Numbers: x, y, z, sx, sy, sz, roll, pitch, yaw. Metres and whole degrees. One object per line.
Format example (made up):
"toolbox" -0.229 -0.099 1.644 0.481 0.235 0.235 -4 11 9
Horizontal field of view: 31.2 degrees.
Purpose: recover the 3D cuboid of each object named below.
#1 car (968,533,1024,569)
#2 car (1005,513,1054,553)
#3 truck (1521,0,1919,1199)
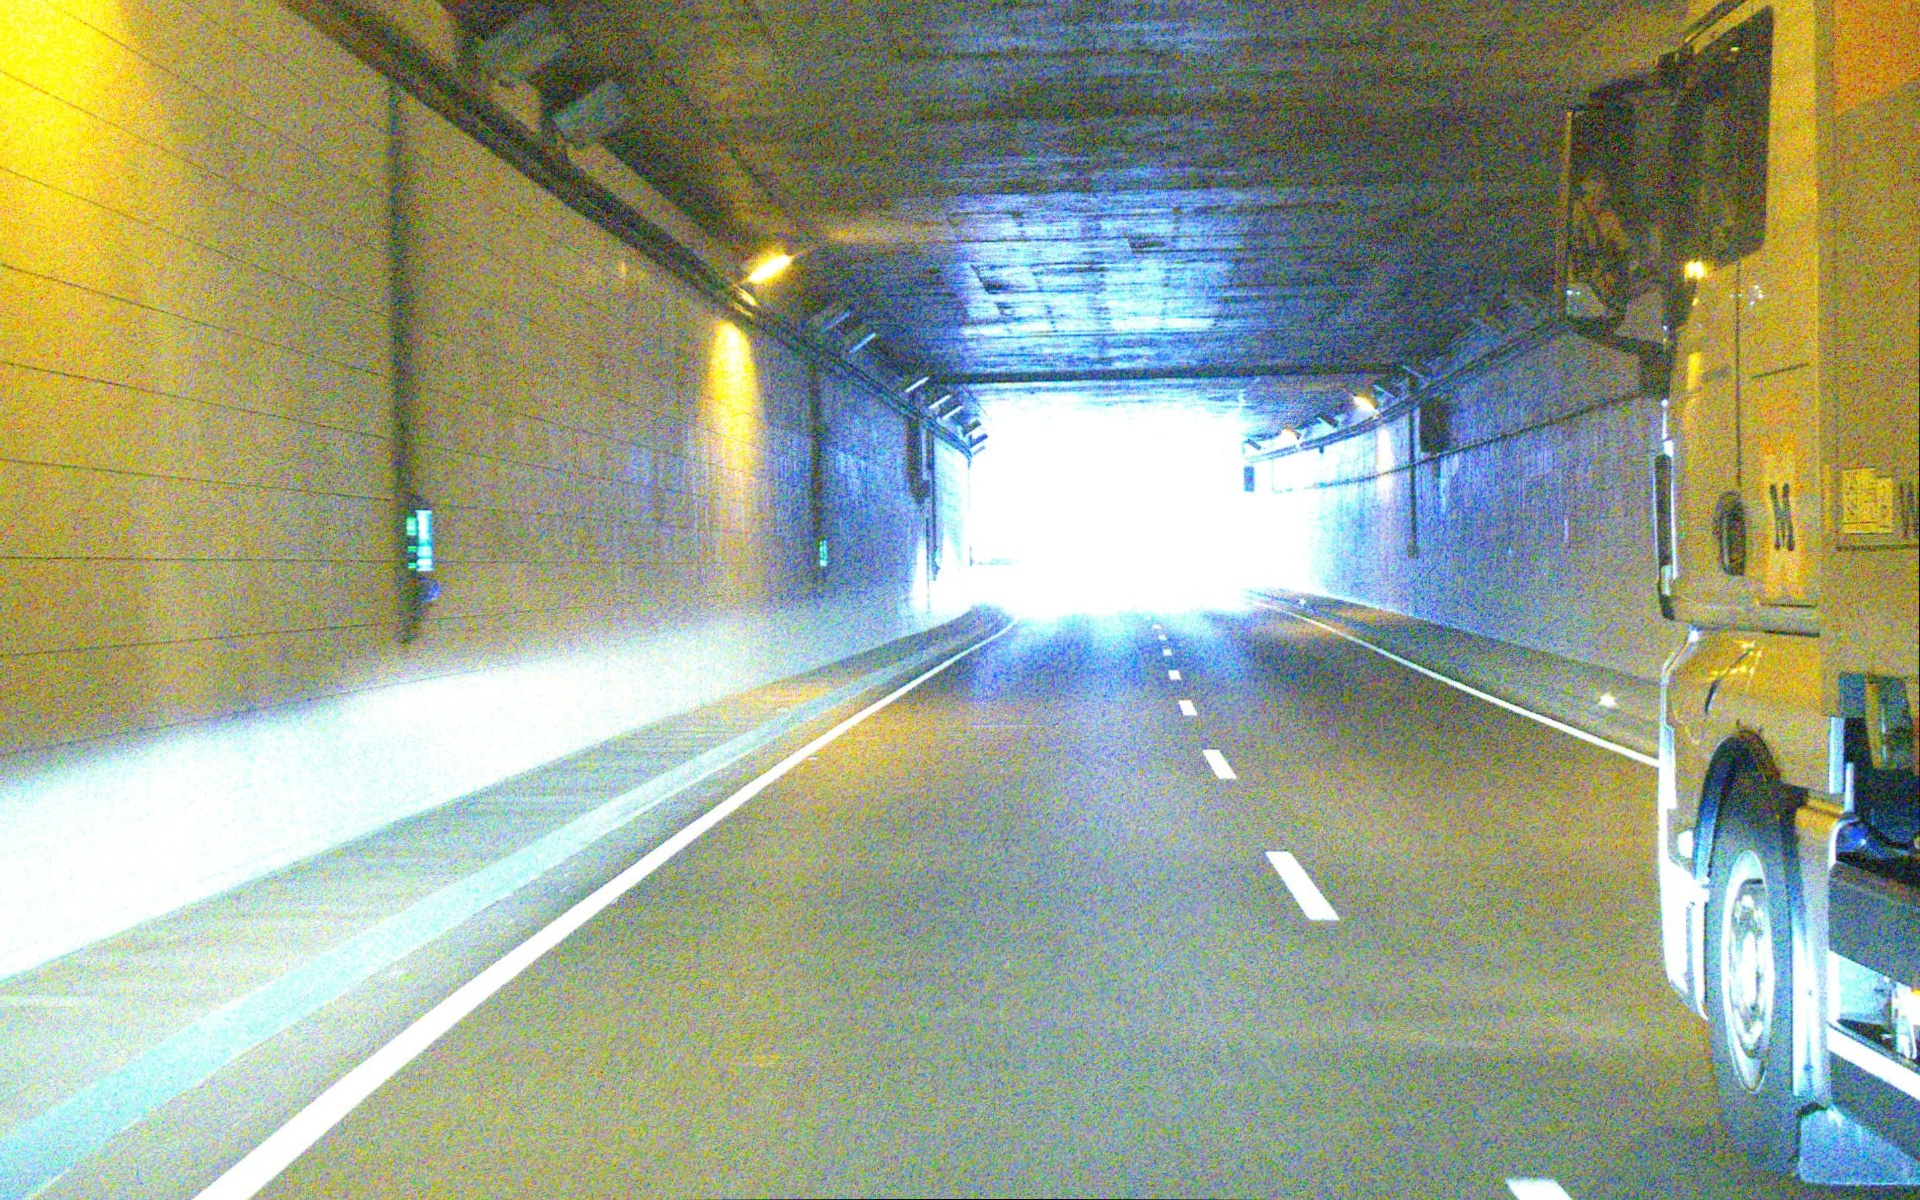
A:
"car" 1.444 -1.988 139.929 1.841 1.384 4.001 -1 0 -5
"car" 3.105 -3.028 155.095 1.869 1.726 4.000 -1 0 -3
"truck" 3.121 -0.576 4.838 2.888 3.900 9.910 -1 1 -1
